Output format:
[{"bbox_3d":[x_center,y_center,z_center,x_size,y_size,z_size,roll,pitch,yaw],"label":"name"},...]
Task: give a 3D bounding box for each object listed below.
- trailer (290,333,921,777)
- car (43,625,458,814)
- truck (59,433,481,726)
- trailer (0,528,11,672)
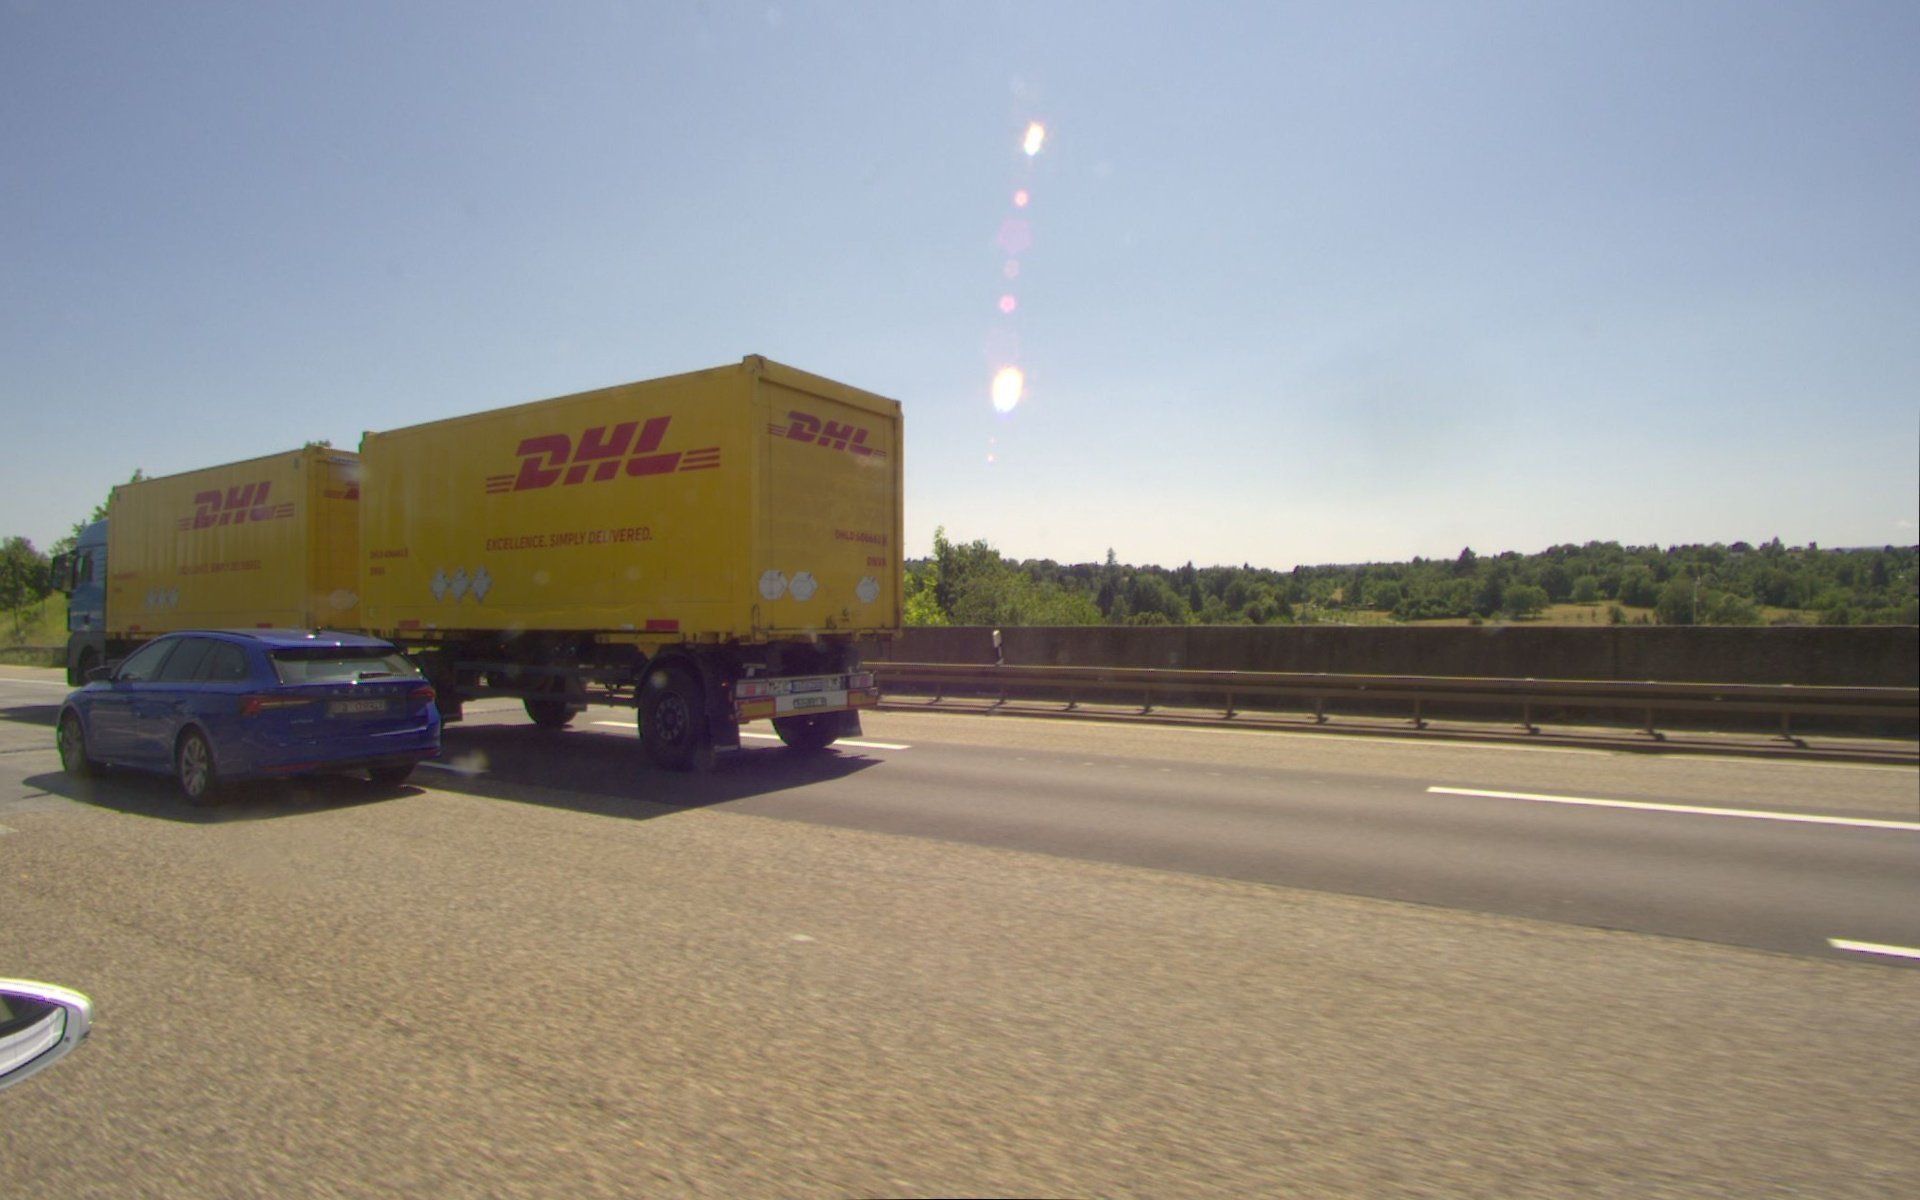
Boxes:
[{"bbox_3d":[-5.062,-0.323,13.102,9.246,4.170,2.760,-1,-2,33],"label":"trailer"},{"bbox_3d":[-6.905,0.980,9.627,4.364,1.459,1.703,-1,-2,32],"label":"car"},{"bbox_3d":[-12.750,-0.138,18.058,9.814,4.161,2.760,-2,-2,33],"label":"truck"},{"bbox_3d":[-33.784,0.053,31.064,13.552,4.102,2.958,-1,-1,32],"label":"trailer"}]
